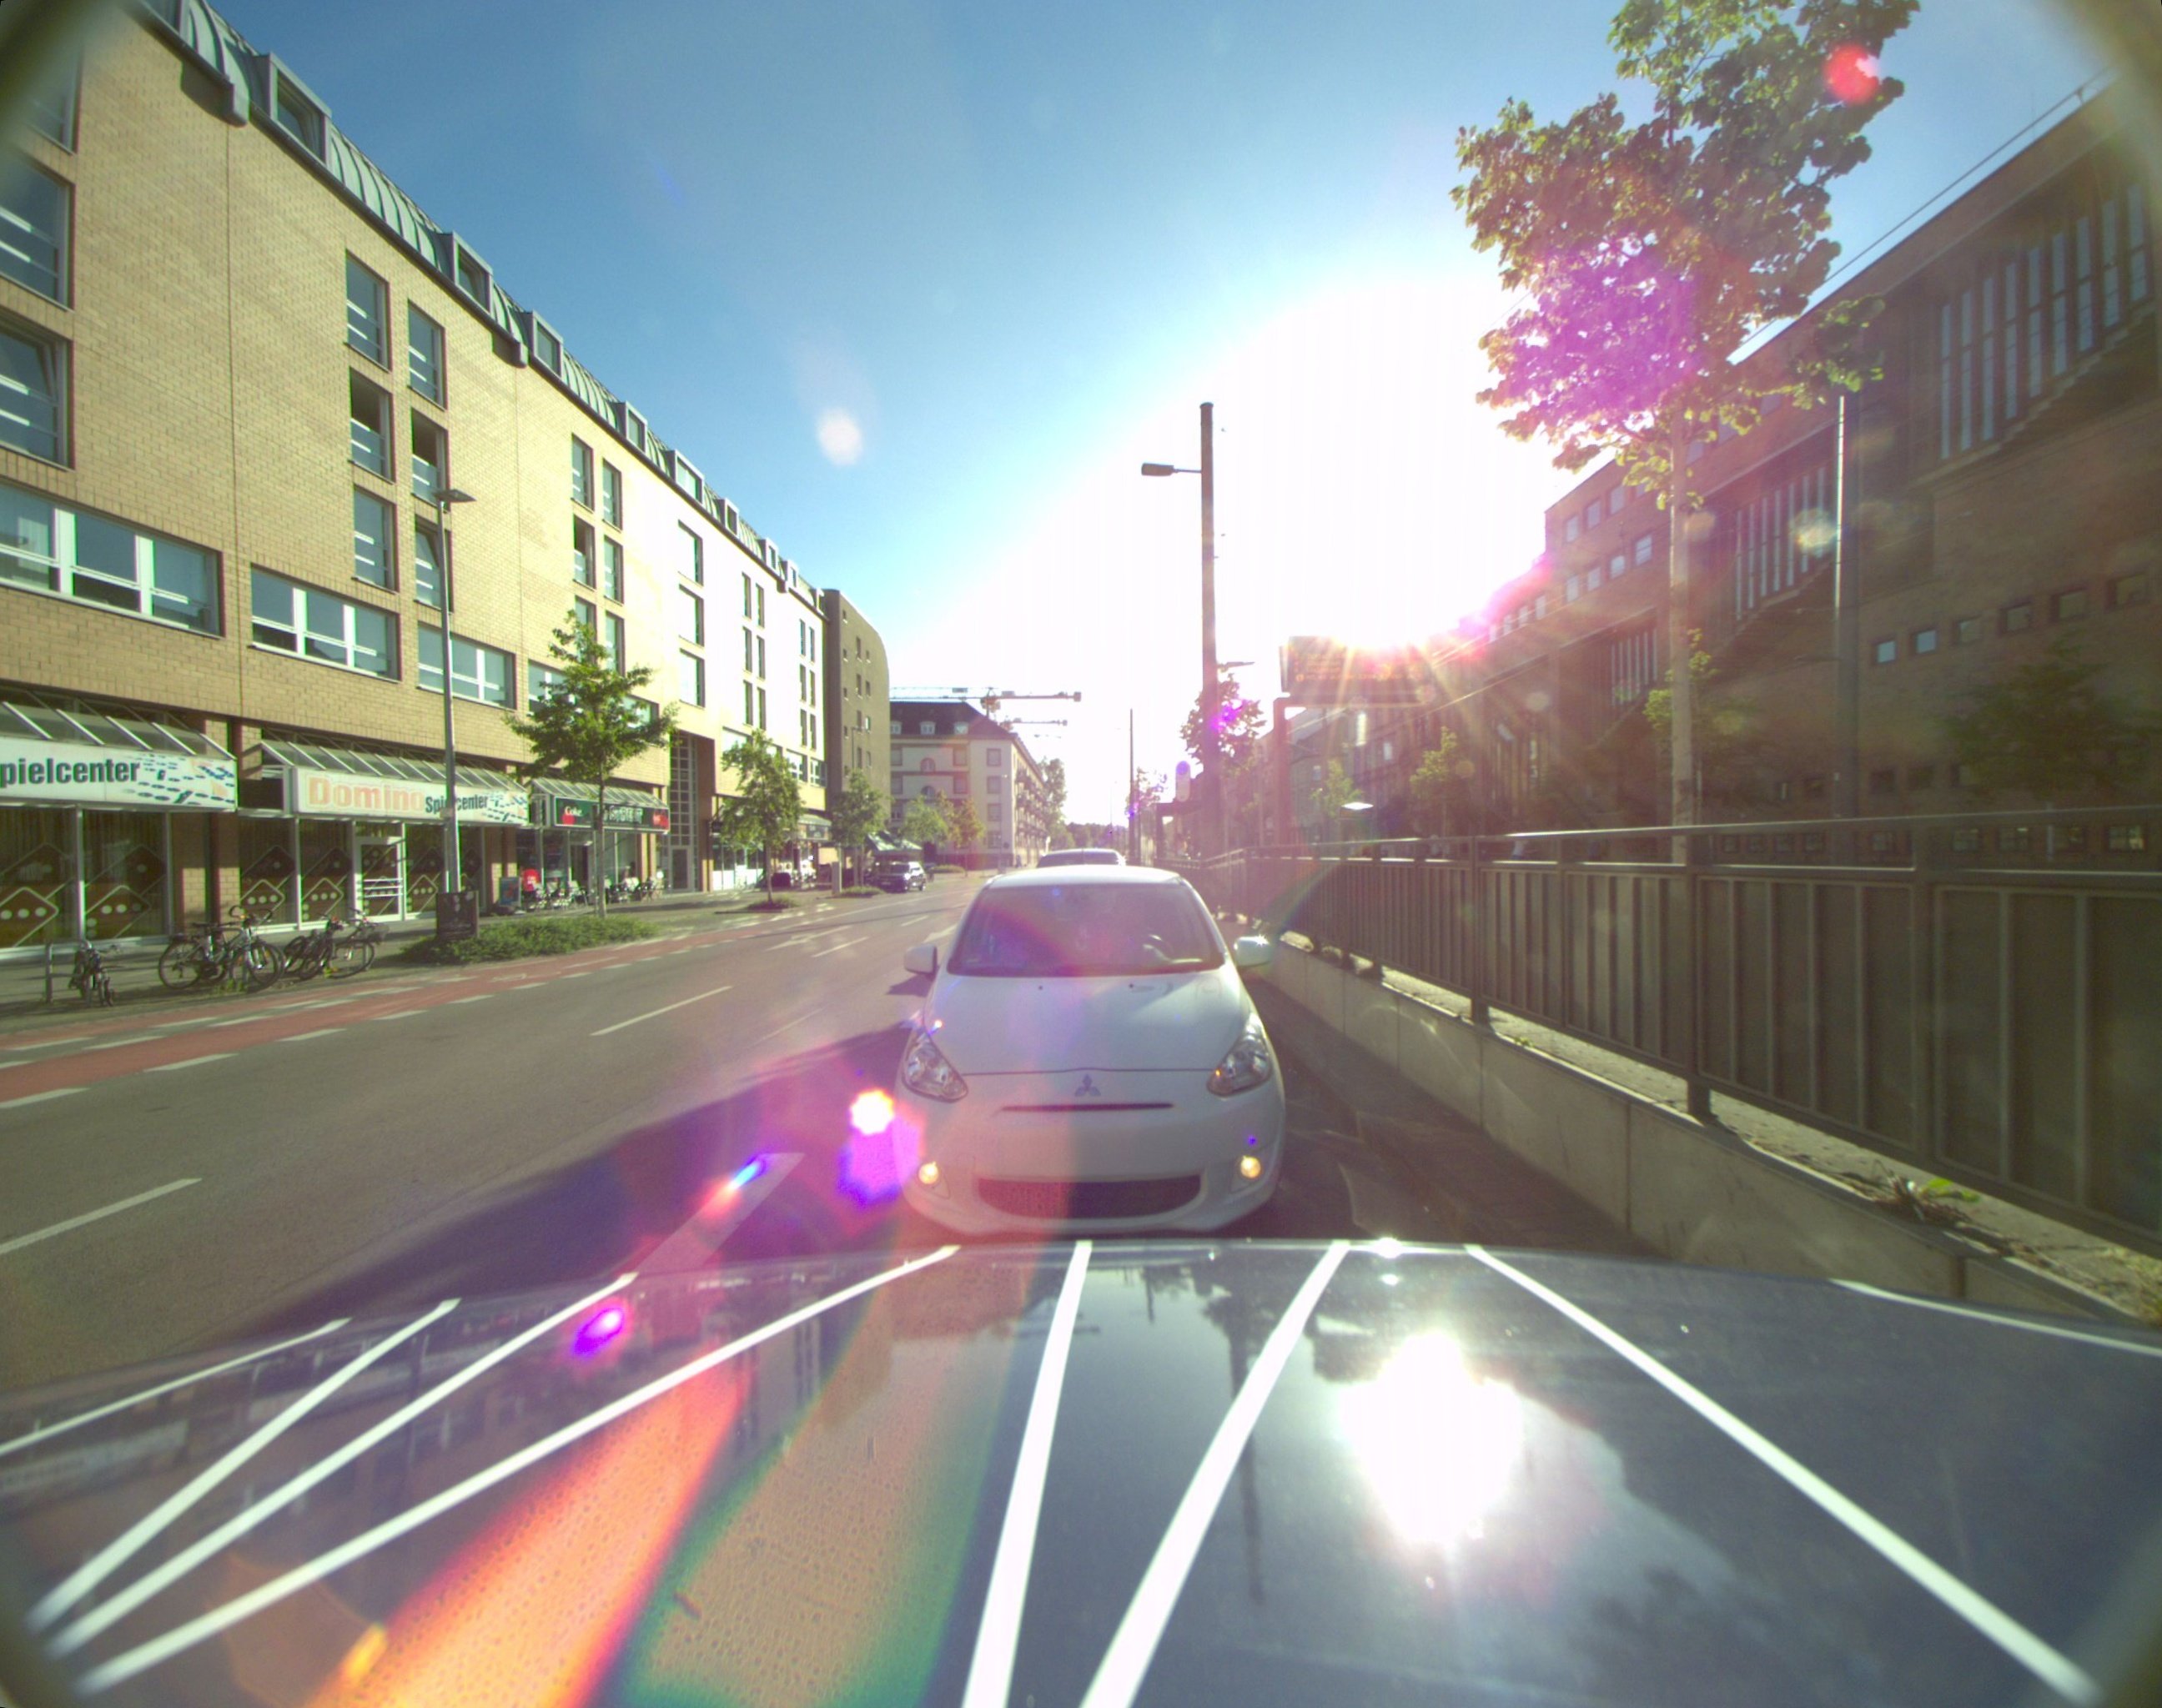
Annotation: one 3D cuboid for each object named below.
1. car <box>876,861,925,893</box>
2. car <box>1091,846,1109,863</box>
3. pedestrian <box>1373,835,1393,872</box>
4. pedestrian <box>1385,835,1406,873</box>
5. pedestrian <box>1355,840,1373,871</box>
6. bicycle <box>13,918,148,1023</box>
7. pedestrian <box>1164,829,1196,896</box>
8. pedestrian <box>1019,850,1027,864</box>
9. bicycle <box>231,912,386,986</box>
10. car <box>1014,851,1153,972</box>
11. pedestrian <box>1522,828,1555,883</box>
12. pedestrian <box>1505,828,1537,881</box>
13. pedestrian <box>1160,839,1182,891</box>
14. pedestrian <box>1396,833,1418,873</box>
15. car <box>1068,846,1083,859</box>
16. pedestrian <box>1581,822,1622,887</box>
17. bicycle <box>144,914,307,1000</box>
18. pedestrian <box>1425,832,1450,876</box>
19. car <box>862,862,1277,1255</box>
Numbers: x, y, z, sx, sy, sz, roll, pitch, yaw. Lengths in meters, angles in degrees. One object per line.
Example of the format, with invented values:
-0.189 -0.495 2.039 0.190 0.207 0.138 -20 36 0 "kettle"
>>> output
-9.837 1.241 41.609 1.655 1.521 3.693 -2 1 1 "car"
2.136 0.051 86.799 1.998 1.958 4.000 -1 0 1 "car"
14.330 -0.030 36.104 0.692 1.732 0.586 -1 1 -2 "pedestrian"
14.407 -0.016 34.860 0.692 1.732 0.586 -1 1 -2 "pedestrian"
14.422 0.065 38.697 0.692 1.566 0.586 -1 1 -2 "pedestrian"
-12.822 1.450 9.731 1.771 1.142 0.554 1 2 21 "bicycle"
3.017 0.253 23.100 0.783 2.002 0.881 -1 1 18 "pedestrian"
-6.669 0.326 86.951 0.804 1.656 0.891 -1 1 -7 "pedestrian"
-12.392 1.513 12.225 1.774 1.065 0.737 0 2 3 "bicycle"
0.064 0.827 13.186 1.955 1.652 4.355 -2 1 1 "car"
14.579 0.037 24.227 0.692 1.732 0.586 -1 1 -2 "pedestrian"
14.548 0.004 25.147 0.692 1.732 0.586 -1 1 -2 "pedestrian"
3.475 0.417 29.485 0.784 2.002 0.880 -1 1 5 "pedestrian"
14.362 -0.026 33.439 0.692 1.732 0.586 -1 1 -2 "pedestrian"
-0.704 -0.166 96.488 1.829 1.644 3.682 -1 0 0 "car"
14.078 0.008 20.572 0.692 1.732 0.586 -1 1 -2 "pedestrian"
-12.354 1.470 10.993 1.774 1.135 0.553 0 2 3 "bicycle"
14.341 0.006 30.596 0.692 1.732 0.586 -1 1 -2 "pedestrian"
-0.017 0.865 5.193 1.640 1.458 4.186 -2 1 1 "car"
